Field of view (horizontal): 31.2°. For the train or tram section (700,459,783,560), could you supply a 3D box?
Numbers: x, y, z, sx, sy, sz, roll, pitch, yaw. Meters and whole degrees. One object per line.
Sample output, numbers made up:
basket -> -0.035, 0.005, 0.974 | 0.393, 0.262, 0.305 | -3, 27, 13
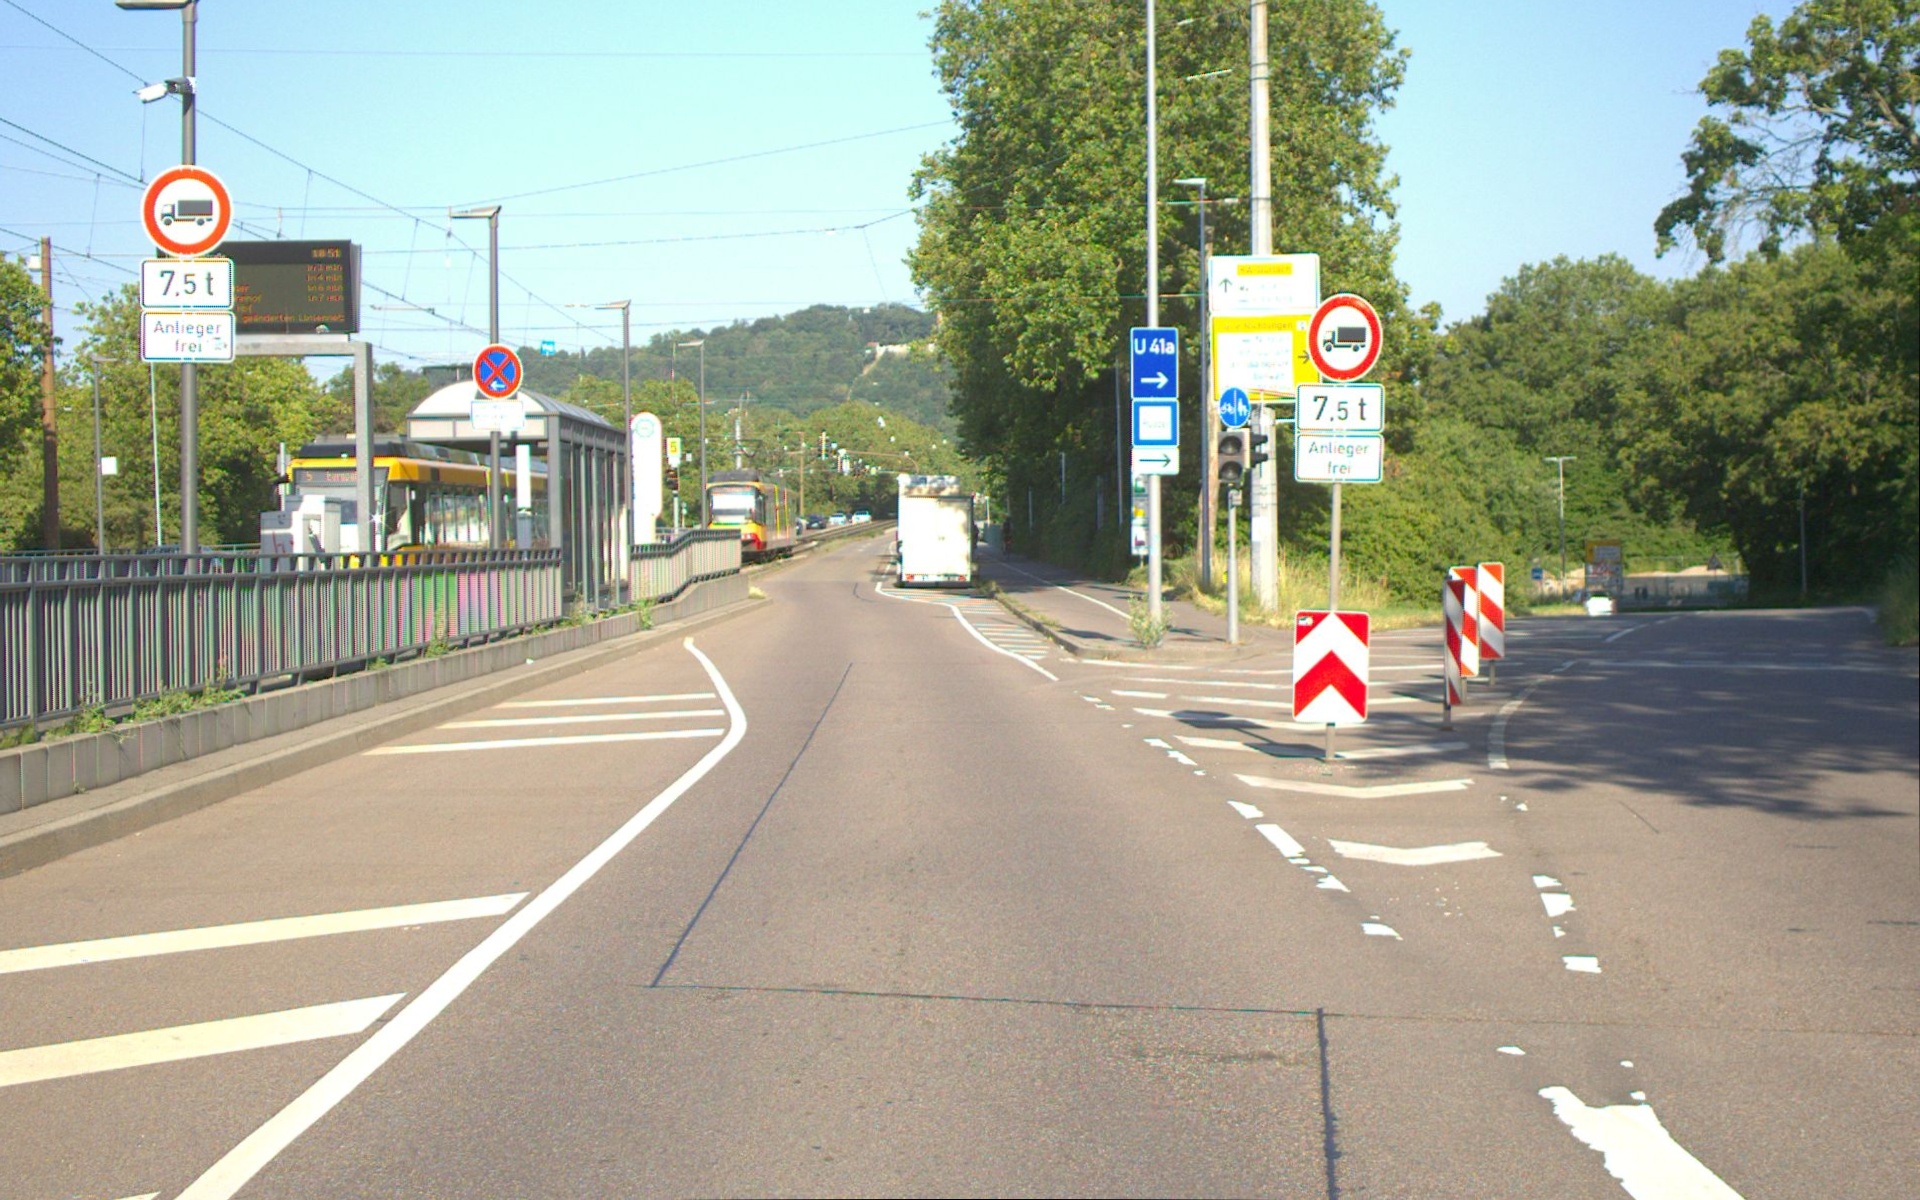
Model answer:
train or tram section -> -9.390, -3.901, 148.775 | 2.721, 4.077, 13.616 | -1, 1, 0

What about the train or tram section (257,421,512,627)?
train or tram section -> -12.290, -1.634, 75.191 | 2.827, 3.992, 15.875 | 1, 1, 0

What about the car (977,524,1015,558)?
car -> 1.586, -2.602, 151.363 | 1.653, 1.432, 3.777 | 0, 1, 1

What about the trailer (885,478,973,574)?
trailer -> -0.854, -2.149, 99.737 | 2.251, 2.685, 5.947 | 0, 1, 2

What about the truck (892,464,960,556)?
truck -> -1.494, -3.845, 147.643 | 2.742, 3.770, 10.090 | 1, 1, -1
